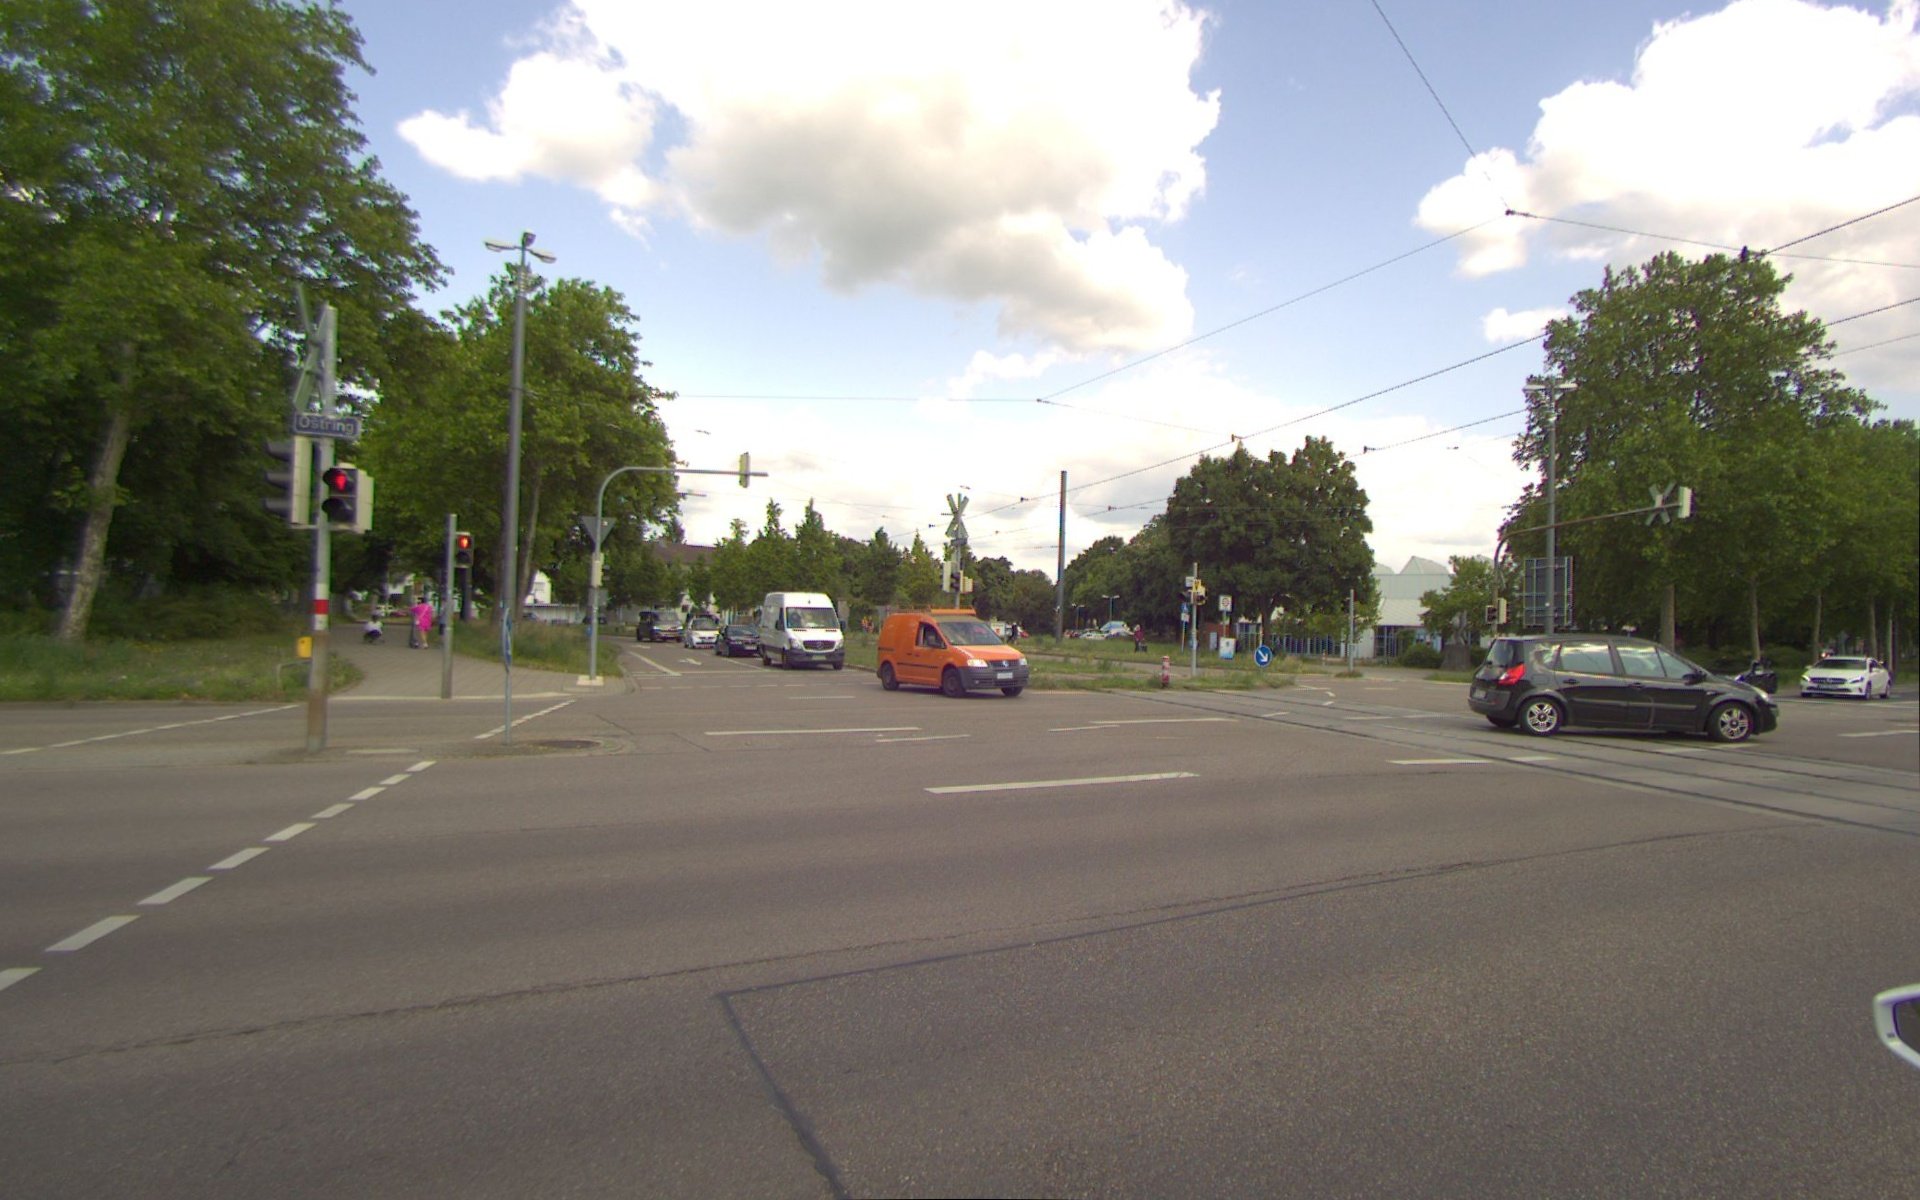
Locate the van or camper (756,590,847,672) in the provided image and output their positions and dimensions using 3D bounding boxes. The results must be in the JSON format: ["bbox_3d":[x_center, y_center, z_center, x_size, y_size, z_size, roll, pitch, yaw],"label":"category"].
[{"bbox_3d":[-5.600,1.043,34.711,1.952,2.558,6.009,1,-1,-20],"label":"van or camper"}]

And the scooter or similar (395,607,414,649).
[{"bbox_3d":[-16.893,0.850,30.574,0.316,1.248,0.773,0,0,-14],"label":"scooter or similar"}]

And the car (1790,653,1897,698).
[{"bbox_3d":[30.549,2.584,34.721,4.095,1.382,1.814,3,-2,-34],"label":"car"}]

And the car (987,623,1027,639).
[{"bbox_3d":[4.643,3.085,100.056,3.921,1.550,2.000,2,-1,0],"label":"car"}]

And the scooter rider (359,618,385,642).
[{"bbox_3d":[-18.293,0.929,31.269,0.604,0.738,0.854,0,0,-24],"label":"scooter rider"}]

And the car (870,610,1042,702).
[{"bbox_3d":[-0.209,1.171,22.398,1.863,1.823,4.333,2,-2,-31],"label":"car"}]

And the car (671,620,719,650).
[{"bbox_3d":[-14.132,1.827,53.397,1.787,1.450,4.357,2,-2,-24],"label":"car"}]

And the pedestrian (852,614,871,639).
[{"bbox_3d":[-8.125,2.214,82.938,1.094,2.040,1.167,2,-1,-31],"label":"pedestrian"}]

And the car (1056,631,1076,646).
[{"bbox_3d":[12.709,4.599,120.531,1.961,1.661,4.391,1,-1,0],"label":"car"}]

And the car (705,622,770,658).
[{"bbox_3d":[-9.805,1.756,43.962,1.788,1.450,4.440,2,-3,-26],"label":"car"}]

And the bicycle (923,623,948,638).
[{"bbox_3d":[-1.805,2.235,74.284,0.941,1.054,1.966,2,-1,-33],"label":"bicycle"}]

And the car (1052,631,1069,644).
[{"bbox_3d":[14.082,5.230,141.292,1.961,1.661,4.391,1,-1,0],"label":"car"}]

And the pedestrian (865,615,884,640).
[{"bbox_3d":[-7.102,2.272,83.534,1.094,2.040,1.167,2,-1,-31],"label":"pedestrian"}]

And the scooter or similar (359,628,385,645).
[{"bbox_3d":[-18.299,1.127,31.266,0.603,0.518,0.852,0,-1,-25],"label":"scooter or similar"}]

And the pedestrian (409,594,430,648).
[{"bbox_3d":[-16.428,0.640,30.562,0.415,1.641,0.594,1,-1,-17],"label":"pedestrian"}]

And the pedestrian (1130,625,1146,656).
[{"bbox_3d":[9.826,2.221,55.497,0.608,1.666,0.631,0,0,-40],"label":"pedestrian"}]

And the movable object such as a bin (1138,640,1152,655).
[{"bbox_3d":[10.150,2.612,55.112,0.574,0.822,0.454,0,0,-40],"label":"movable object such as a bin"}]

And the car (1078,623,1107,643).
[{"bbox_3d":[11.672,2.913,88.788,1.961,1.661,4.391,2,-1,0],"label":"car"}]

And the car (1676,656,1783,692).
[{"bbox_3d":[28.364,2.724,37.009,3.658,1.207,1.630,2,-1,-25],"label":"car"}]

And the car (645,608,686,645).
[{"bbox_3d":[-18.401,1.622,62.645,1.830,2.184,4.357,2,-1,-24],"label":"car"}]

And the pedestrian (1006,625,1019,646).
[{"bbox_3d":[3.537,2.405,67.689,0.642,1.372,0.747,0,0,-25],"label":"pedestrian"}]

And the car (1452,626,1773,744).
[{"bbox_3d":[10.365,1.309,16.261,3.970,1.652,1.737,1,-1,12],"label":"car"}]

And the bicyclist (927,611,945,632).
[{"bbox_3d":[-1.779,1.615,74.282,0.953,1.509,0.828,2,-1,-33],"label":"bicyclist"}]

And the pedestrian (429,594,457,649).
[{"bbox_3d":[-15.756,0.655,30.602,0.622,1.641,0.608,1,-1,-17],"label":"pedestrian"}]
